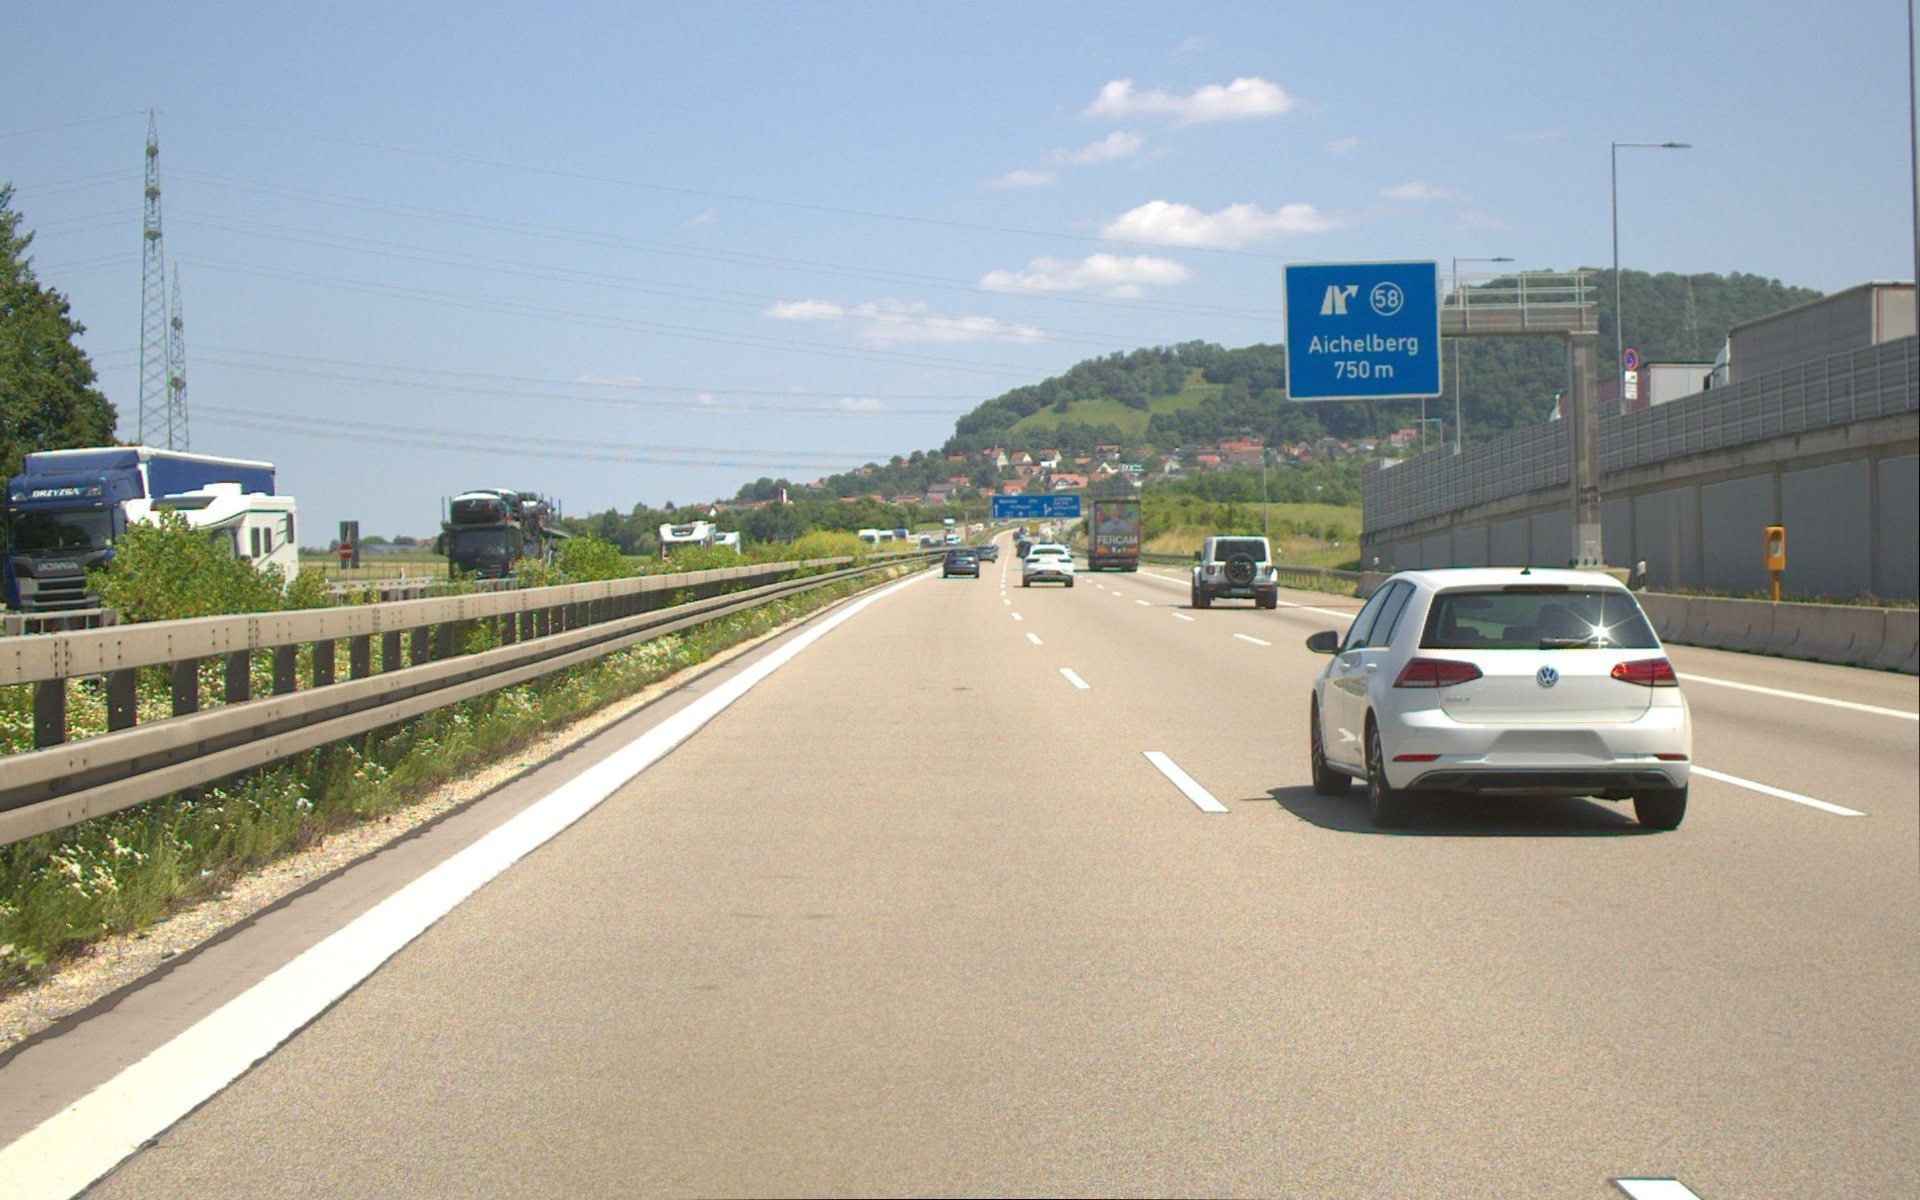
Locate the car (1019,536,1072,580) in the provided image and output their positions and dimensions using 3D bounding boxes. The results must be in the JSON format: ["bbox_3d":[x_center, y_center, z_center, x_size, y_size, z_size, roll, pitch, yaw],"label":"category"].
[{"bbox_3d":[3.220,-1.581,129.925,1.914,1.575,5.231,1,1,1],"label":"car"}]

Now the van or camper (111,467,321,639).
[{"bbox_3d":[-13.800,-0.886,64.245,2.270,2.959,6.953,-2,1,0],"label":"van or camper"}]

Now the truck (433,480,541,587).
[{"bbox_3d":[-17.499,-2.431,127.676,2.676,3.806,9.153,1,0,0],"label":"truck"}]

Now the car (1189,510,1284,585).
[{"bbox_3d":[7.004,-1.326,87.445,2.034,1.798,4.251,-2,1,0],"label":"car"}]

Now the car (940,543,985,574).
[{"bbox_3d":[0.139,-1.914,159.959,1.993,1.384,4.000,1,1,2],"label":"car"}]

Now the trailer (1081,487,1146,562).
[{"bbox_3d":[8.763,-4.266,197.464,2.725,4.140,11.809,1,1,-2],"label":"trailer"}]

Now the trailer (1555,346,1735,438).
[{"bbox_3d":[21.948,-6.638,111.092,2.719,2.216,14.022,1,1,-1],"label":"trailer"}]

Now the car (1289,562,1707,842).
[{"bbox_3d":[3.091,0.519,20.672,1.776,1.428,4.691,1,1,0],"label":"car"}]

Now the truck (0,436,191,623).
[{"bbox_3d":[-18.208,-1.442,72.125,2.848,3.732,5.694,1,0,0],"label":"truck"}]

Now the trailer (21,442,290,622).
[{"bbox_3d":[-18.266,-1.495,79.230,2.842,3.721,14.531,1,1,0],"label":"trailer"}]

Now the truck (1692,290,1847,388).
[{"bbox_3d":[22.099,-7.104,94.161,2.723,2.223,6.037,1,0,-1],"label":"truck"}]

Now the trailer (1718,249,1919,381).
[{"bbox_3d":[22.252,-7.055,86.719,2.719,2.216,14.529,1,1,-1],"label":"trailer"}]
